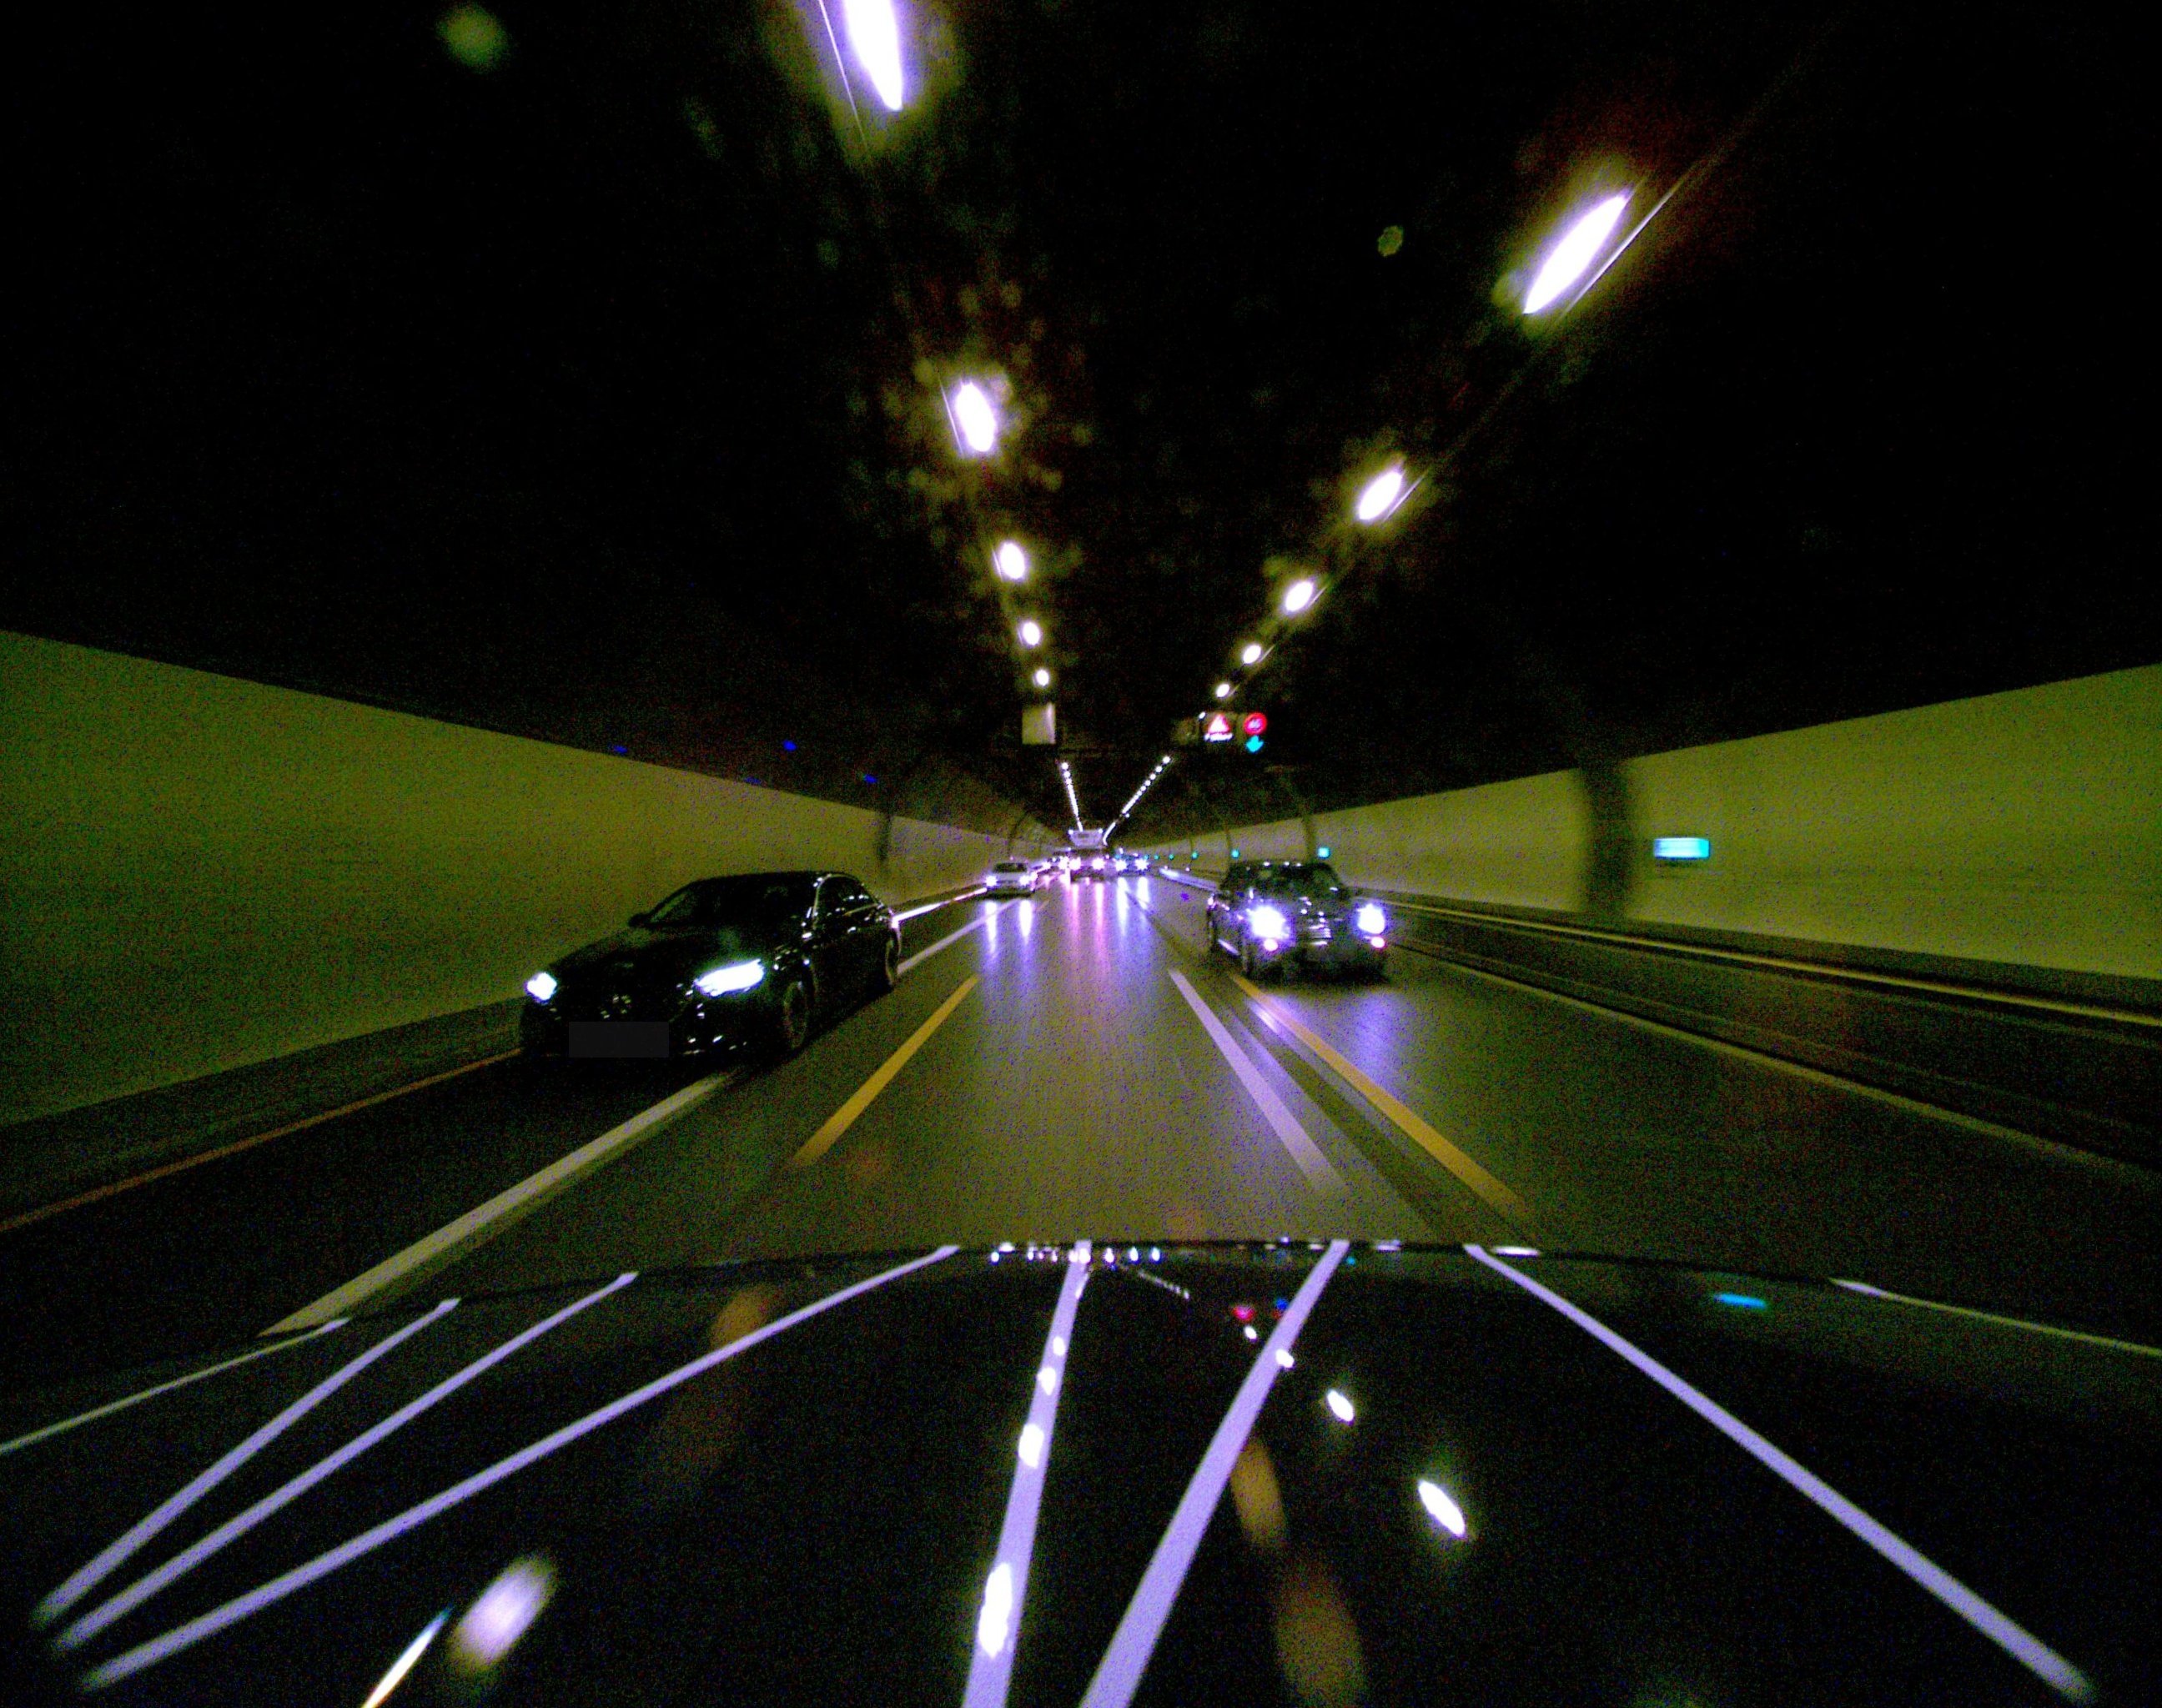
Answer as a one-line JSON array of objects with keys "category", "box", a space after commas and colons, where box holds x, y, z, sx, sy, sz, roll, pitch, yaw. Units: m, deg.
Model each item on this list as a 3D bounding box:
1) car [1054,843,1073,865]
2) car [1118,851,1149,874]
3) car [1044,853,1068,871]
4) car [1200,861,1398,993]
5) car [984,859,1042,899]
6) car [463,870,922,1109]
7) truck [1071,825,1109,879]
[{"category": "car", "box": [-2.135, -0.062, 94.817, 2.124, 2.629, 6.229, -1, 1, 1]}, {"category": "car", "box": [3.834, 0.619, 56.107, 1.958, 1.528, 4.757, -2, 1, 0]}, {"category": "car", "box": [-2.233, 0.680, 68.078, 1.958, 1.528, 4.757, -1, 1, 0]}, {"category": "car", "box": [2.731, 0.836, 10.351, 1.657, 1.395, 3.657, -2, 0, 1]}, {"category": "car", "box": [-2.695, 0.959, 31.029, 1.801, 1.452, 4.035, -1, 0, 3]}, {"category": "car", "box": [-3.140, 0.970, 7.596, 1.930, 1.464, 4.954, 0, 0, 1]}, {"category": "truck", "box": [0.569, -0.134, 48.843, 2.262, 3.238, 7.383, 0, 0, 1]}]
